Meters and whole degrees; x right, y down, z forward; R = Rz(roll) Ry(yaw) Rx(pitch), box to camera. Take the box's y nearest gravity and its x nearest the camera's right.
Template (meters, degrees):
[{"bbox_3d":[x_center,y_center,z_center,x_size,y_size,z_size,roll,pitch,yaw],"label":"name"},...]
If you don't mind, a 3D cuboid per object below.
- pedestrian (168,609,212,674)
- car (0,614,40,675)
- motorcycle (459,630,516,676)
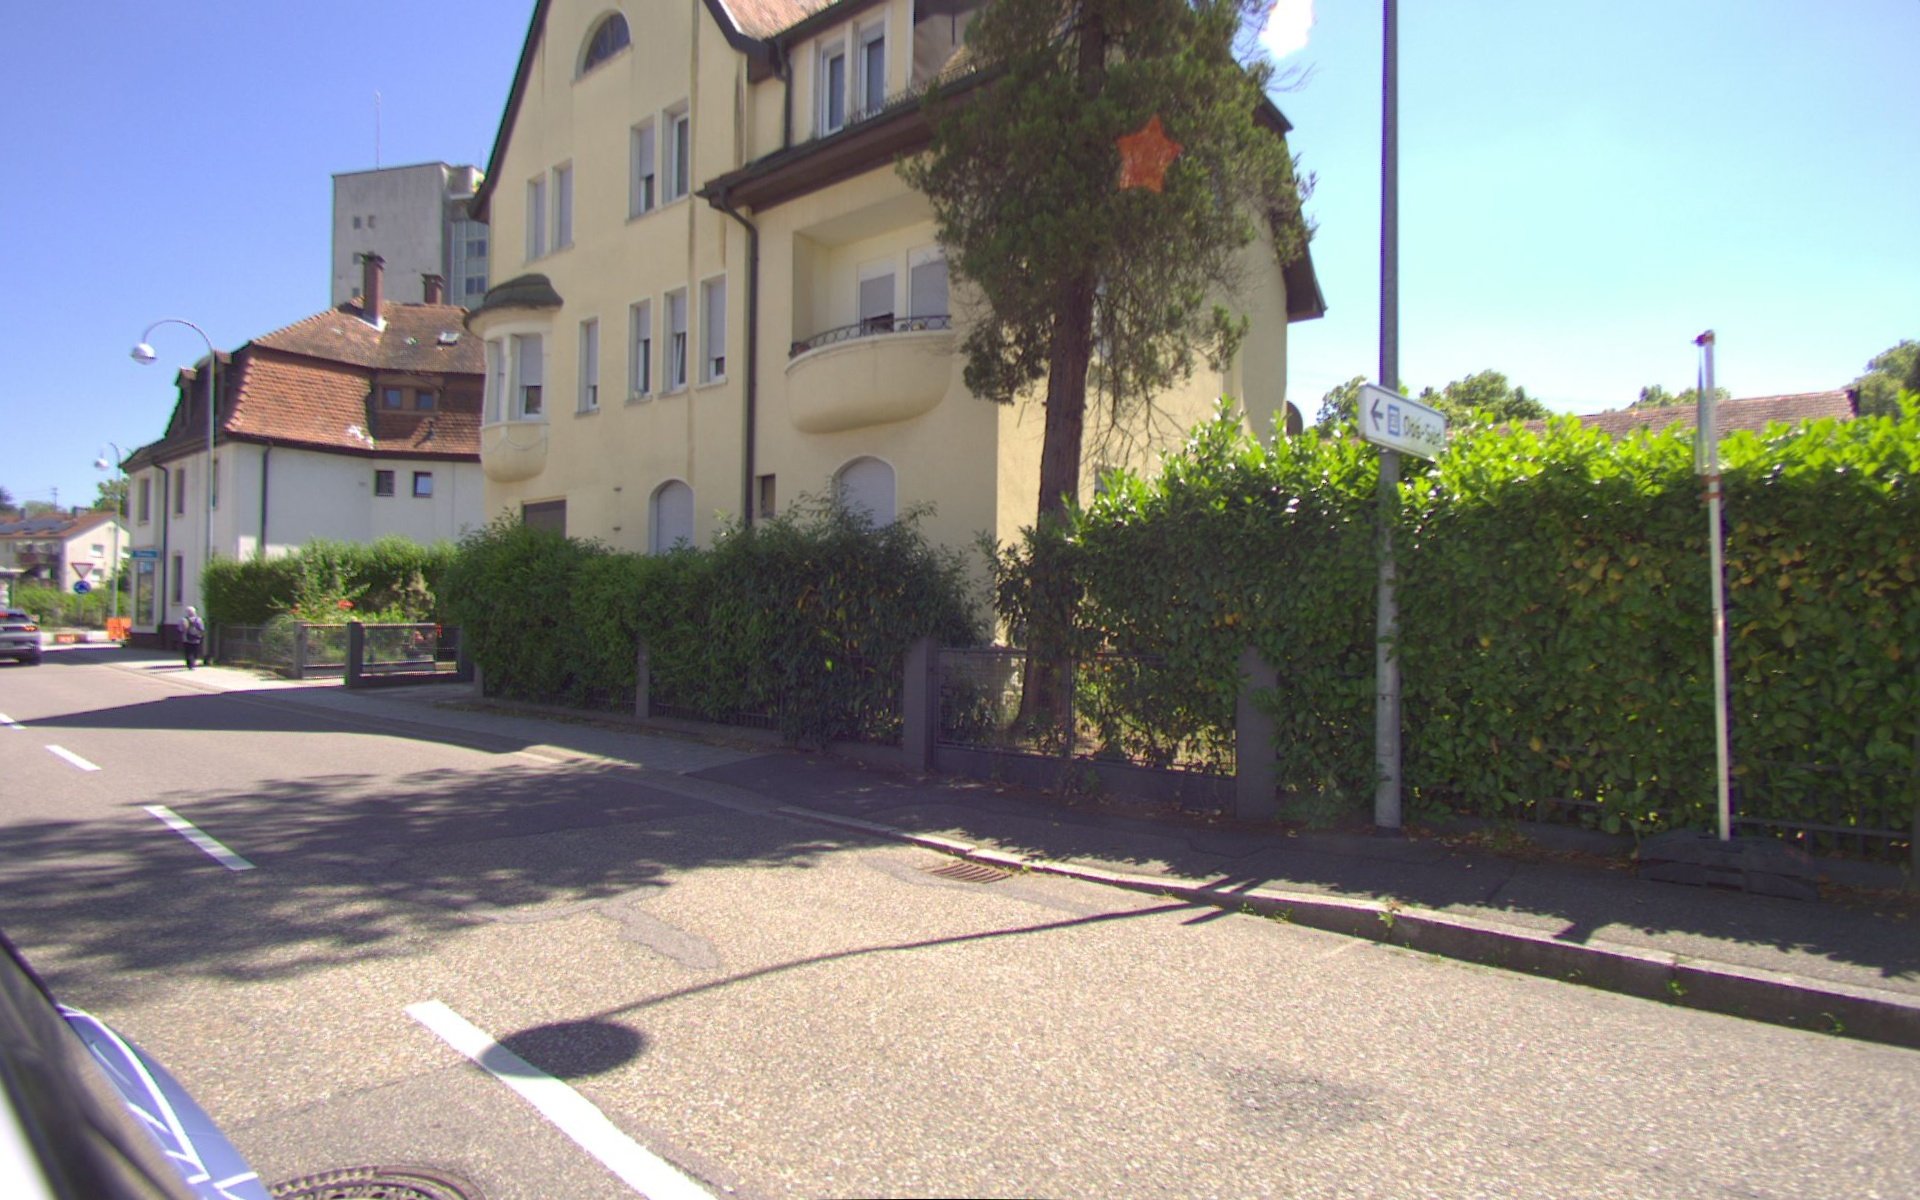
[{"bbox_3d":[-19.531,1.040,25.664,0.823,1.576,0.607,-1,3,39],"label":"pedestrian"},{"bbox_3d":[-27.638,1.227,28.711,4.295,1.629,1.834,0,-1,42],"label":"car"},{"bbox_3d":[-12.426,1.377,26.668,0.705,1.114,2.148,0,-1,-7],"label":"motorcycle"}]
